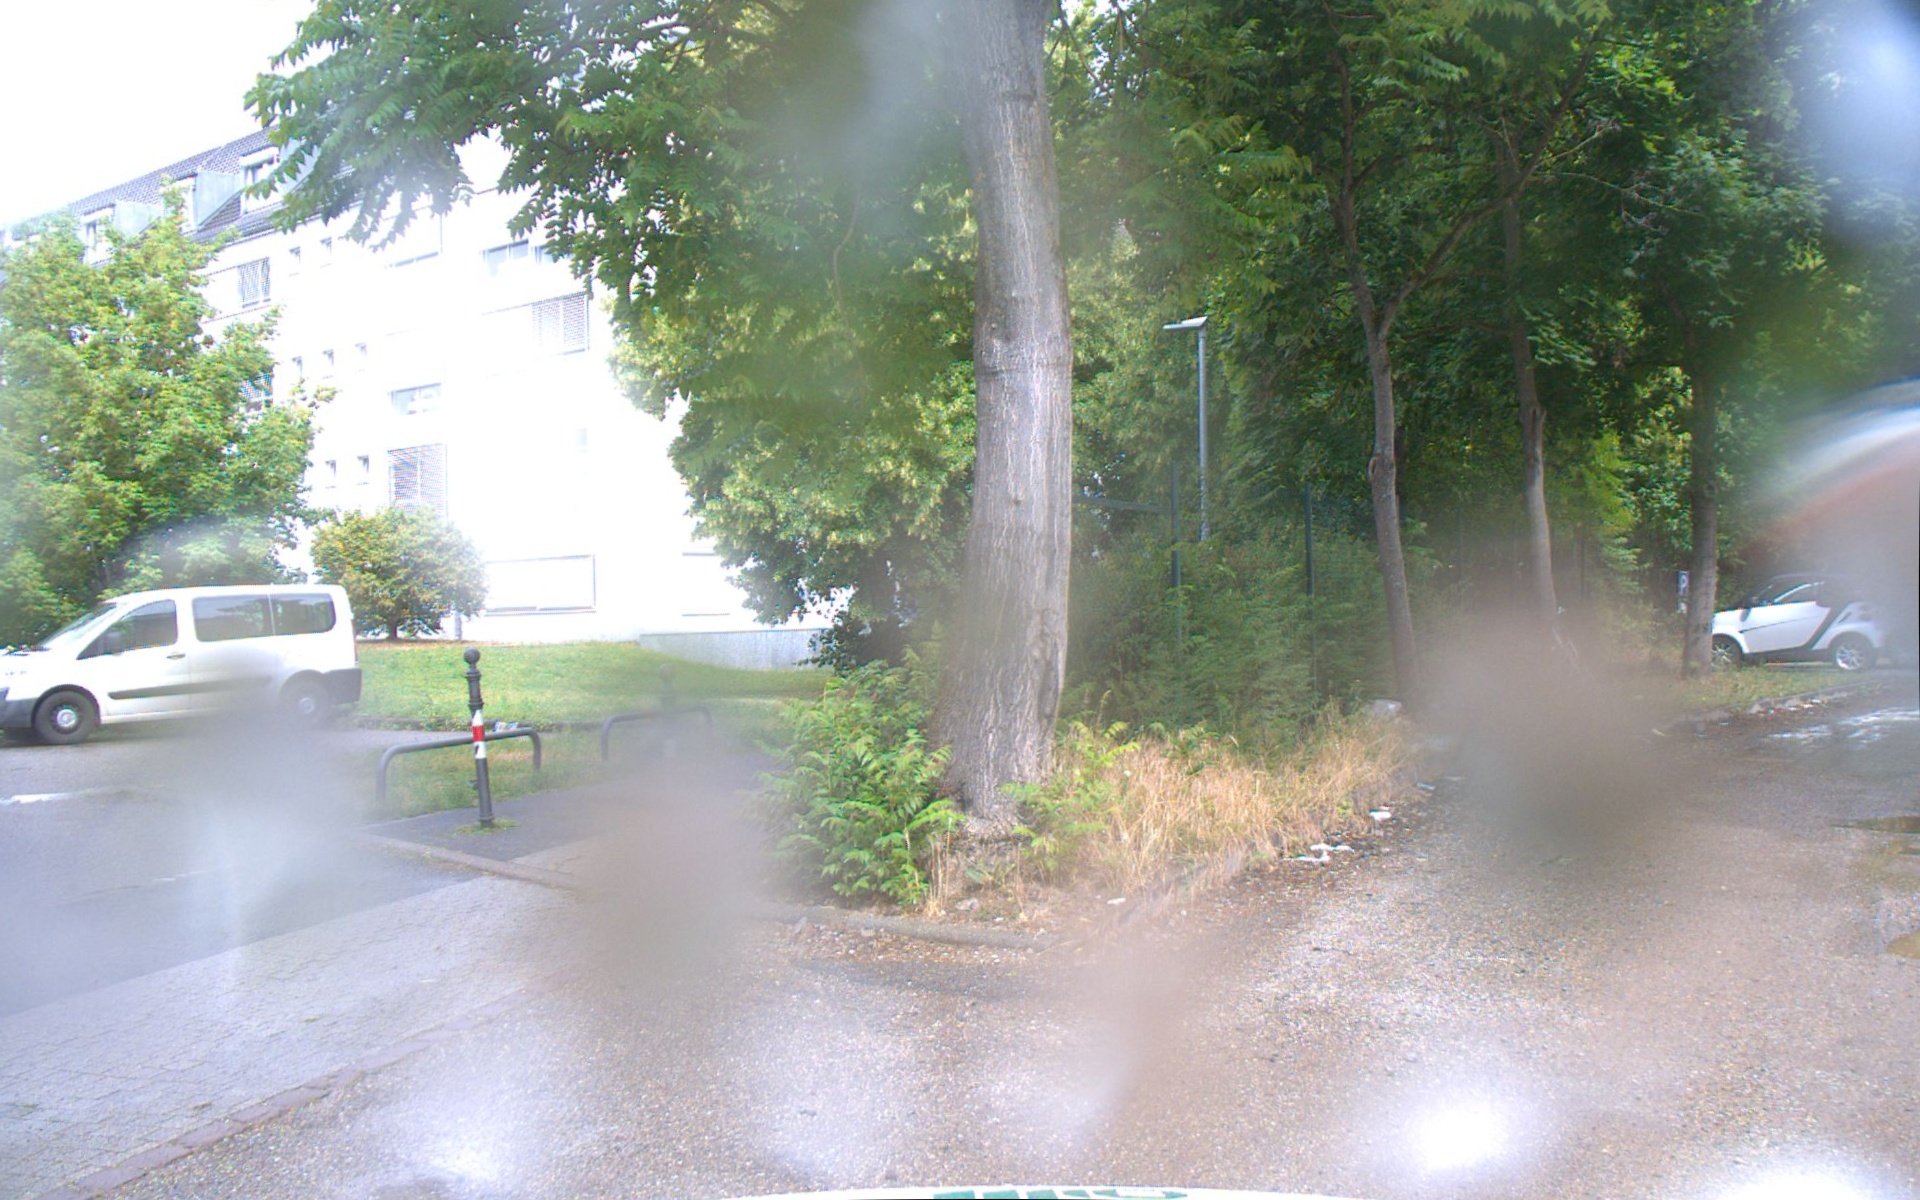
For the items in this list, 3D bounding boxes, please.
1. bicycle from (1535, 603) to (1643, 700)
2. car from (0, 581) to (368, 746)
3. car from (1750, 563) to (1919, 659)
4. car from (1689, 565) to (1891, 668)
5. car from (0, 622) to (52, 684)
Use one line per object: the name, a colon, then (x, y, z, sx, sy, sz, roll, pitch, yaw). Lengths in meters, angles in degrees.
bicycle: (6.266, 0.492, 16.436, 0.469, 0.875, 1.446, 0, 2, 44)
car: (-10.602, 0.776, 21.820, 4.853, 1.959, 2.065, 0, -2, -44)
car: (15.166, 0.174, 27.625, 3.370, 1.494, 1.736, -2, 1, 32)
car: (13.147, 0.266, 26.197, 2.704, 1.510, 1.589, -2, 1, 32)
car: (-24.726, 1.407, 41.098, 1.657, 1.451, 3.408, -3, 1, 41)
